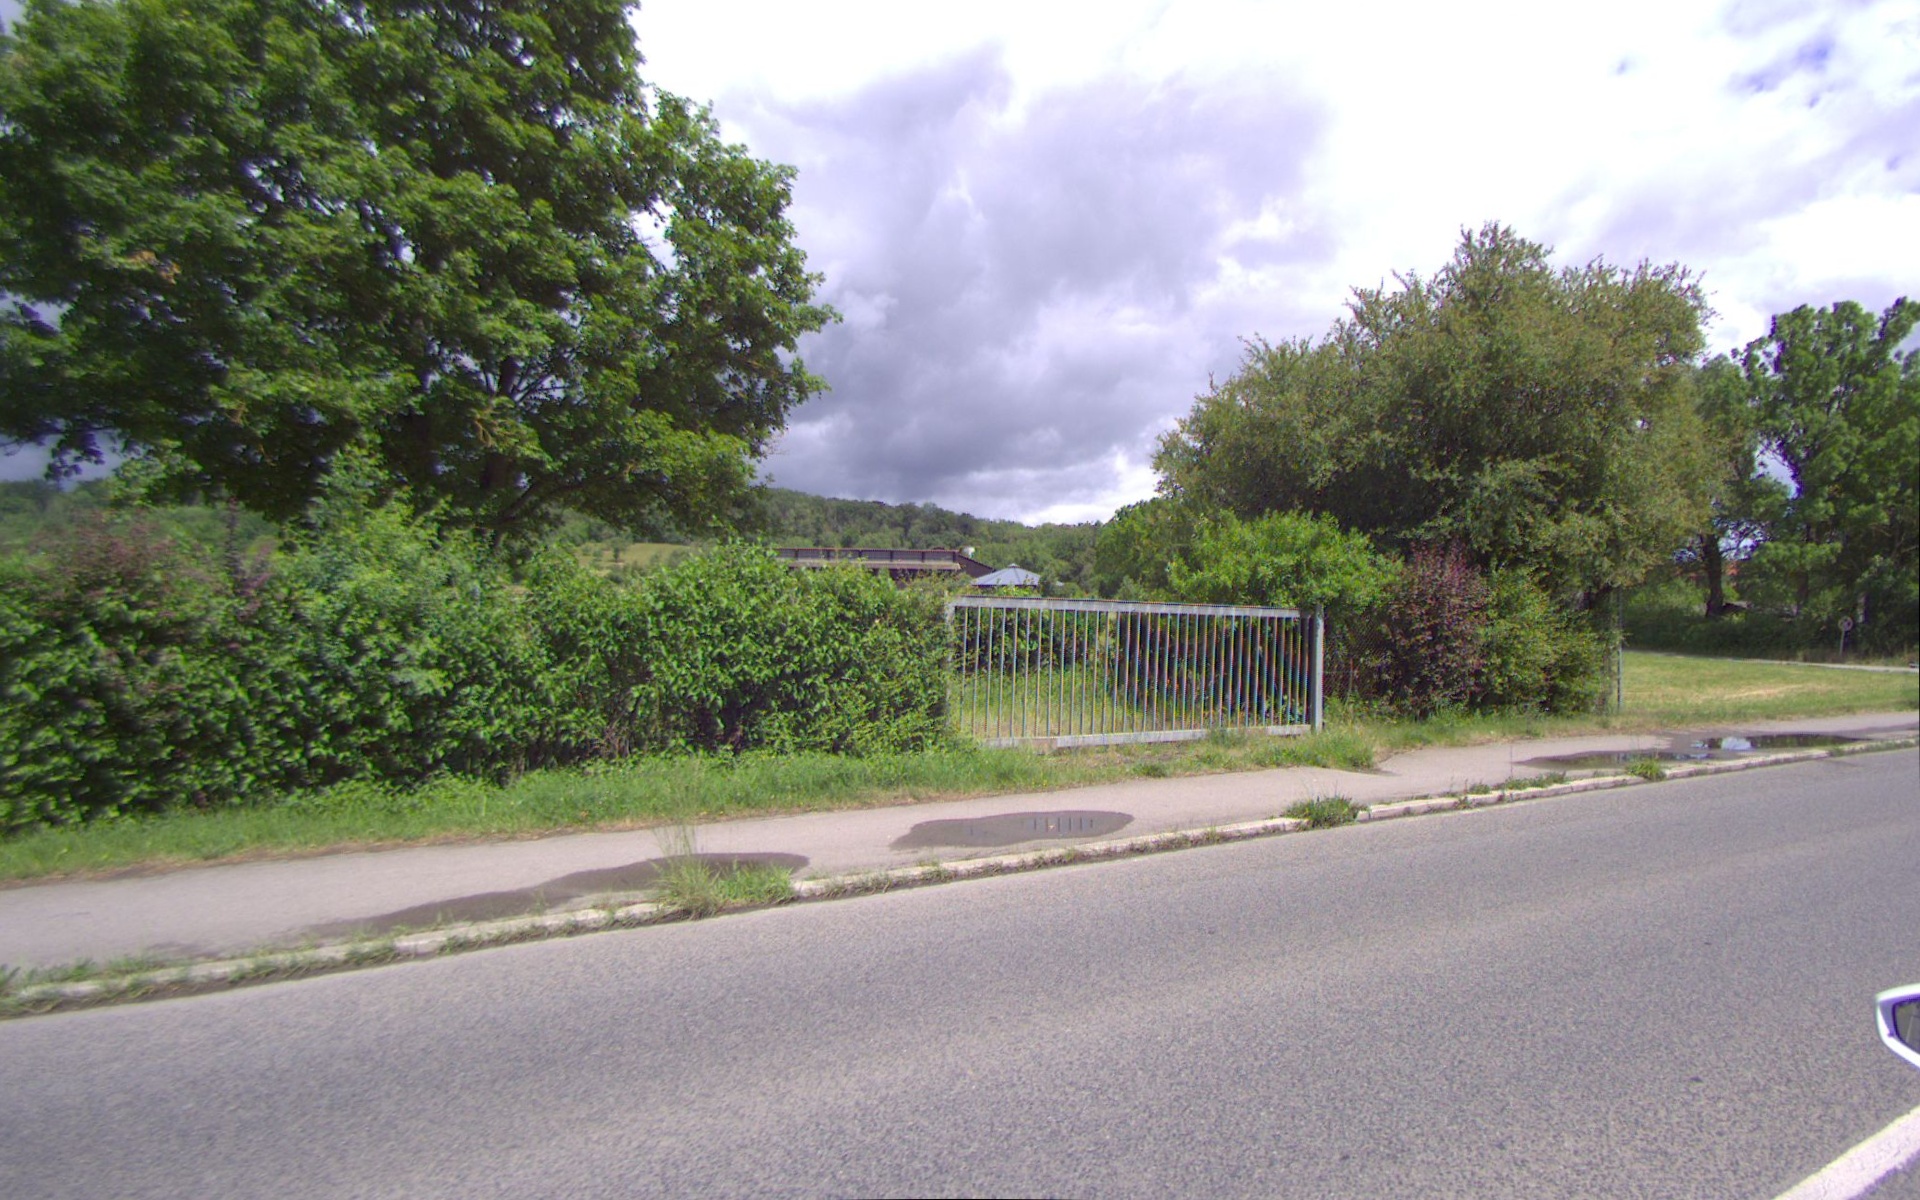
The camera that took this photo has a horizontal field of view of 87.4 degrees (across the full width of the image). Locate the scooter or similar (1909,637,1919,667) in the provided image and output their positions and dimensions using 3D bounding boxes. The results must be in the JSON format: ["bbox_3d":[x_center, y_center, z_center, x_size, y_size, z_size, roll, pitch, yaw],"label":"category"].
[{"bbox_3d":[37.784,2.042,39.063,0.400,1.184,1.243,1,0,-17],"label":"scooter or similar"}]
